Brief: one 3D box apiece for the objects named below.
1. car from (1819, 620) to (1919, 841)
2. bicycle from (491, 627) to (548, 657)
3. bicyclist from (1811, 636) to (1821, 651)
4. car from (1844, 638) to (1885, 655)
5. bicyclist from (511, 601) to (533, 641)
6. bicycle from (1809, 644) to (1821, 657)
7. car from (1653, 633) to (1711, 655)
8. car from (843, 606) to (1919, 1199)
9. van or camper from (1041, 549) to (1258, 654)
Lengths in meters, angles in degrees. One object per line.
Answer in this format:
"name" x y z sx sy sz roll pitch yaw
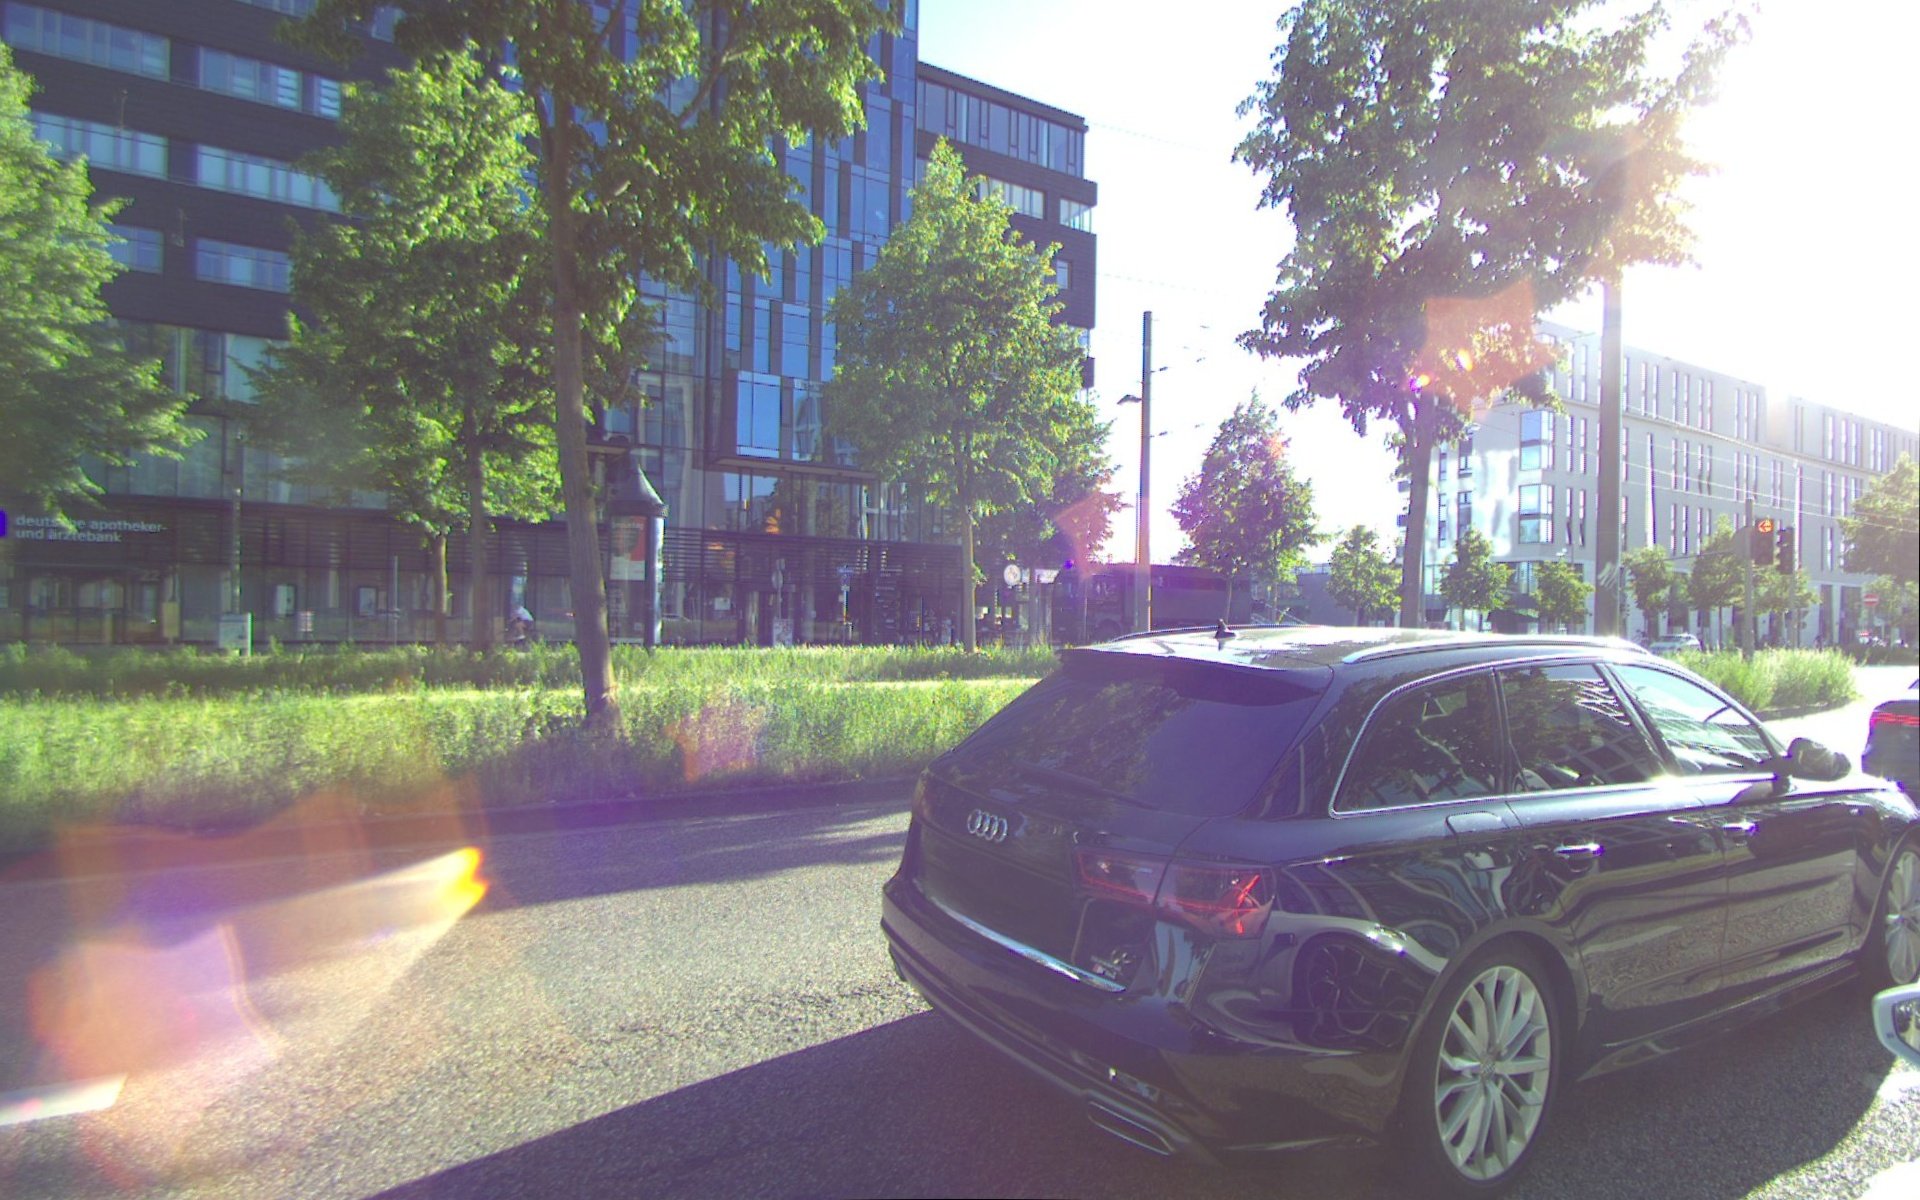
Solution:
"car" 8.679 0.977 7.874 4.066 1.548 1.799 2 -1 -31
"bicycle" -15.856 1.523 36.185 1.826 1.047 0.524 2 0 -31
"bicyclist" 78.514 3.993 92.182 0.699 1.310 0.573 2 0 -41
"car" 76.062 3.895 84.429 3.670 1.360 1.572 2 -1 -31
"bicyclist" -15.791 0.766 36.204 0.619 1.424 0.490 2 0 -30
"bicycle" 78.471 4.659 92.183 1.624 1.125 0.524 2 0 -40
"car" 48.640 2.953 67.648 4.421 1.360 1.572 2 -1 -31
"car" 1.960 0.814 3.899 4.456 1.476 1.799 2 -1 -31
"van or camper" 8.574 0.204 44.640 10.110 4.248 2.740 2 -1 -31
